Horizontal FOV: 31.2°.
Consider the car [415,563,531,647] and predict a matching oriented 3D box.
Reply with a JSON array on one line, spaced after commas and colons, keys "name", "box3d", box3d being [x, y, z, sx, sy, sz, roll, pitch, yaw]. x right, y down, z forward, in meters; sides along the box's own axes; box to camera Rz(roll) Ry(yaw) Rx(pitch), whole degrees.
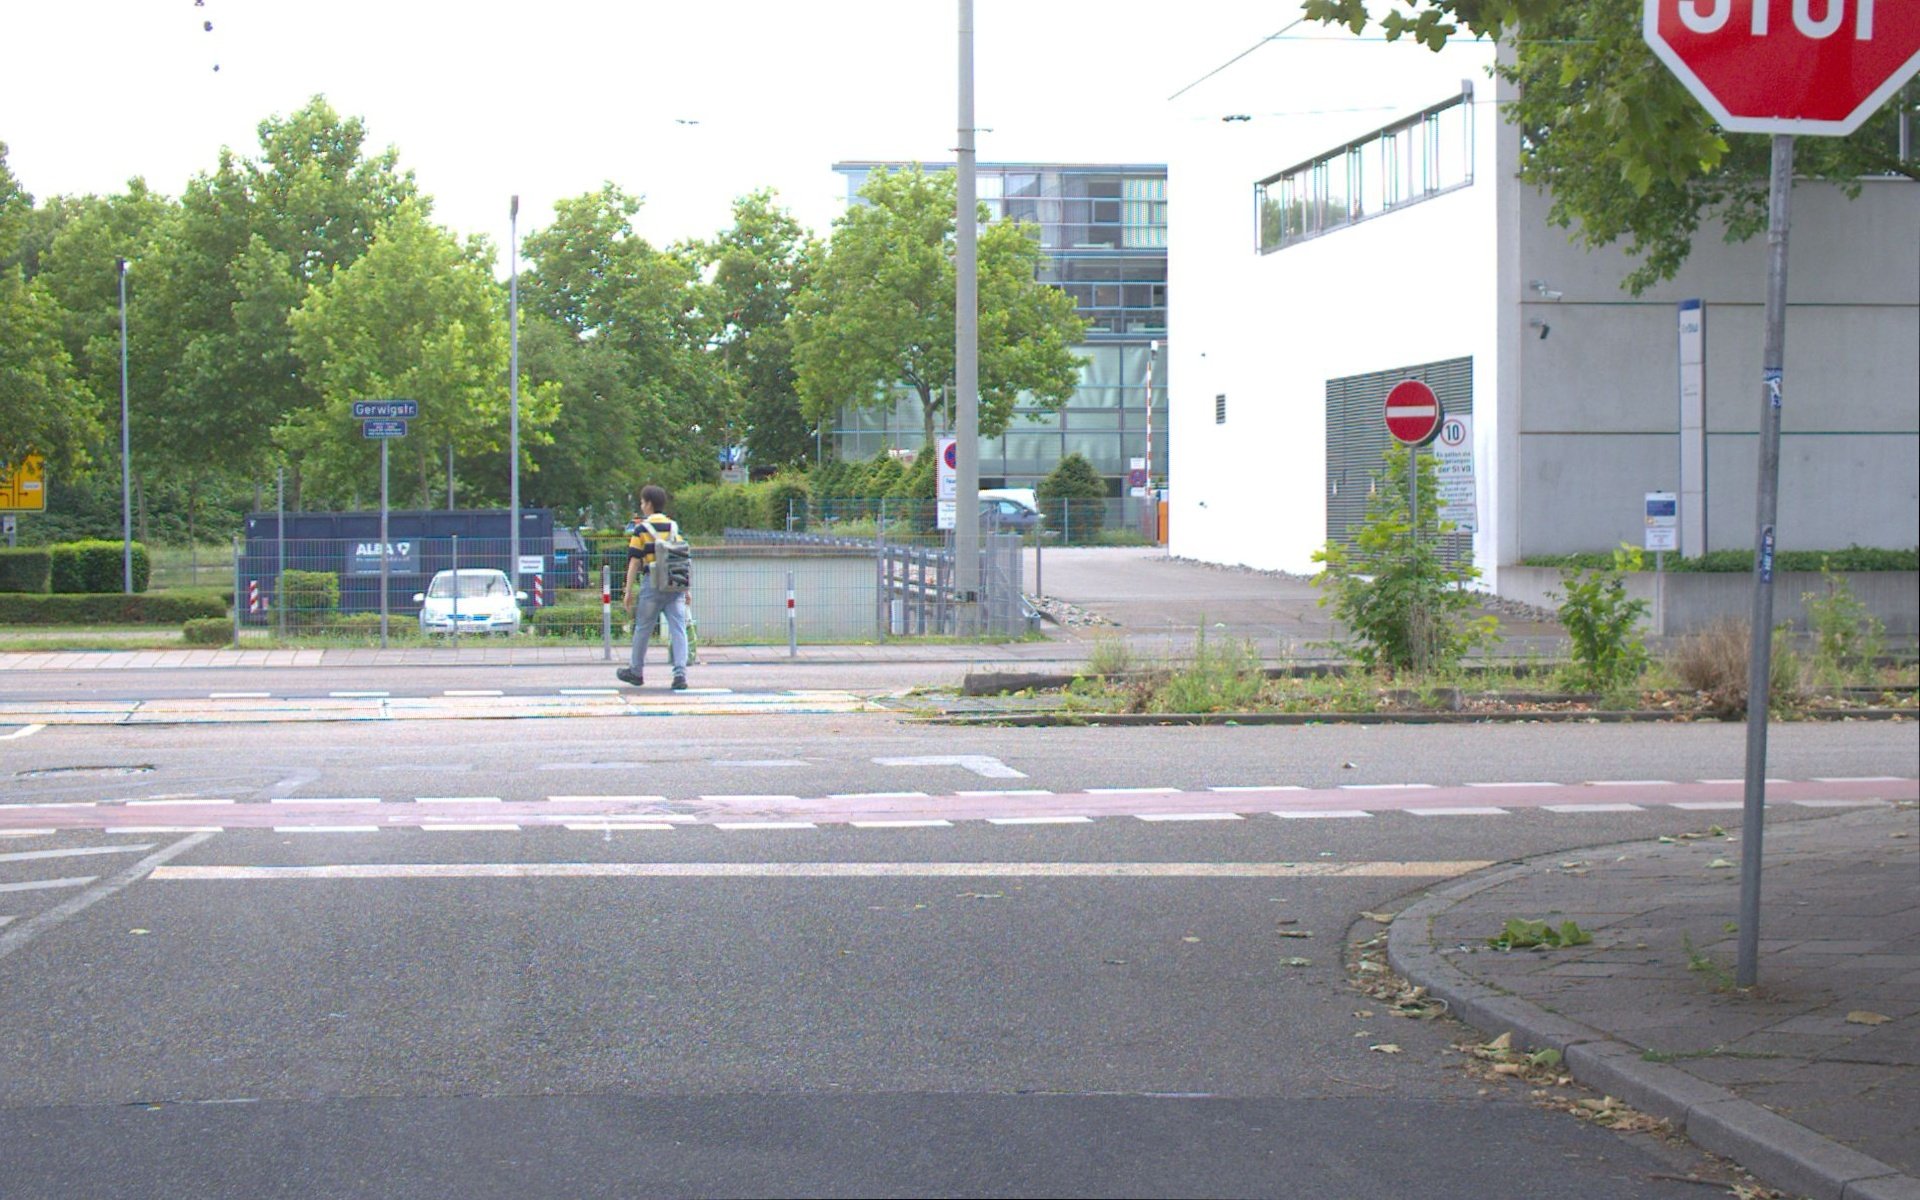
[{"name": "car", "box3d": [-8.595, 0.066, 60.926, 1.930, 1.398, 4.082, 0, 1, -7]}]

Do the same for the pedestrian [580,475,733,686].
[{"name": "pedestrian", "box3d": [-2.723, -0.189, 30.762, 1.000, 1.843, 1.229, 0, 1, -26]}]
